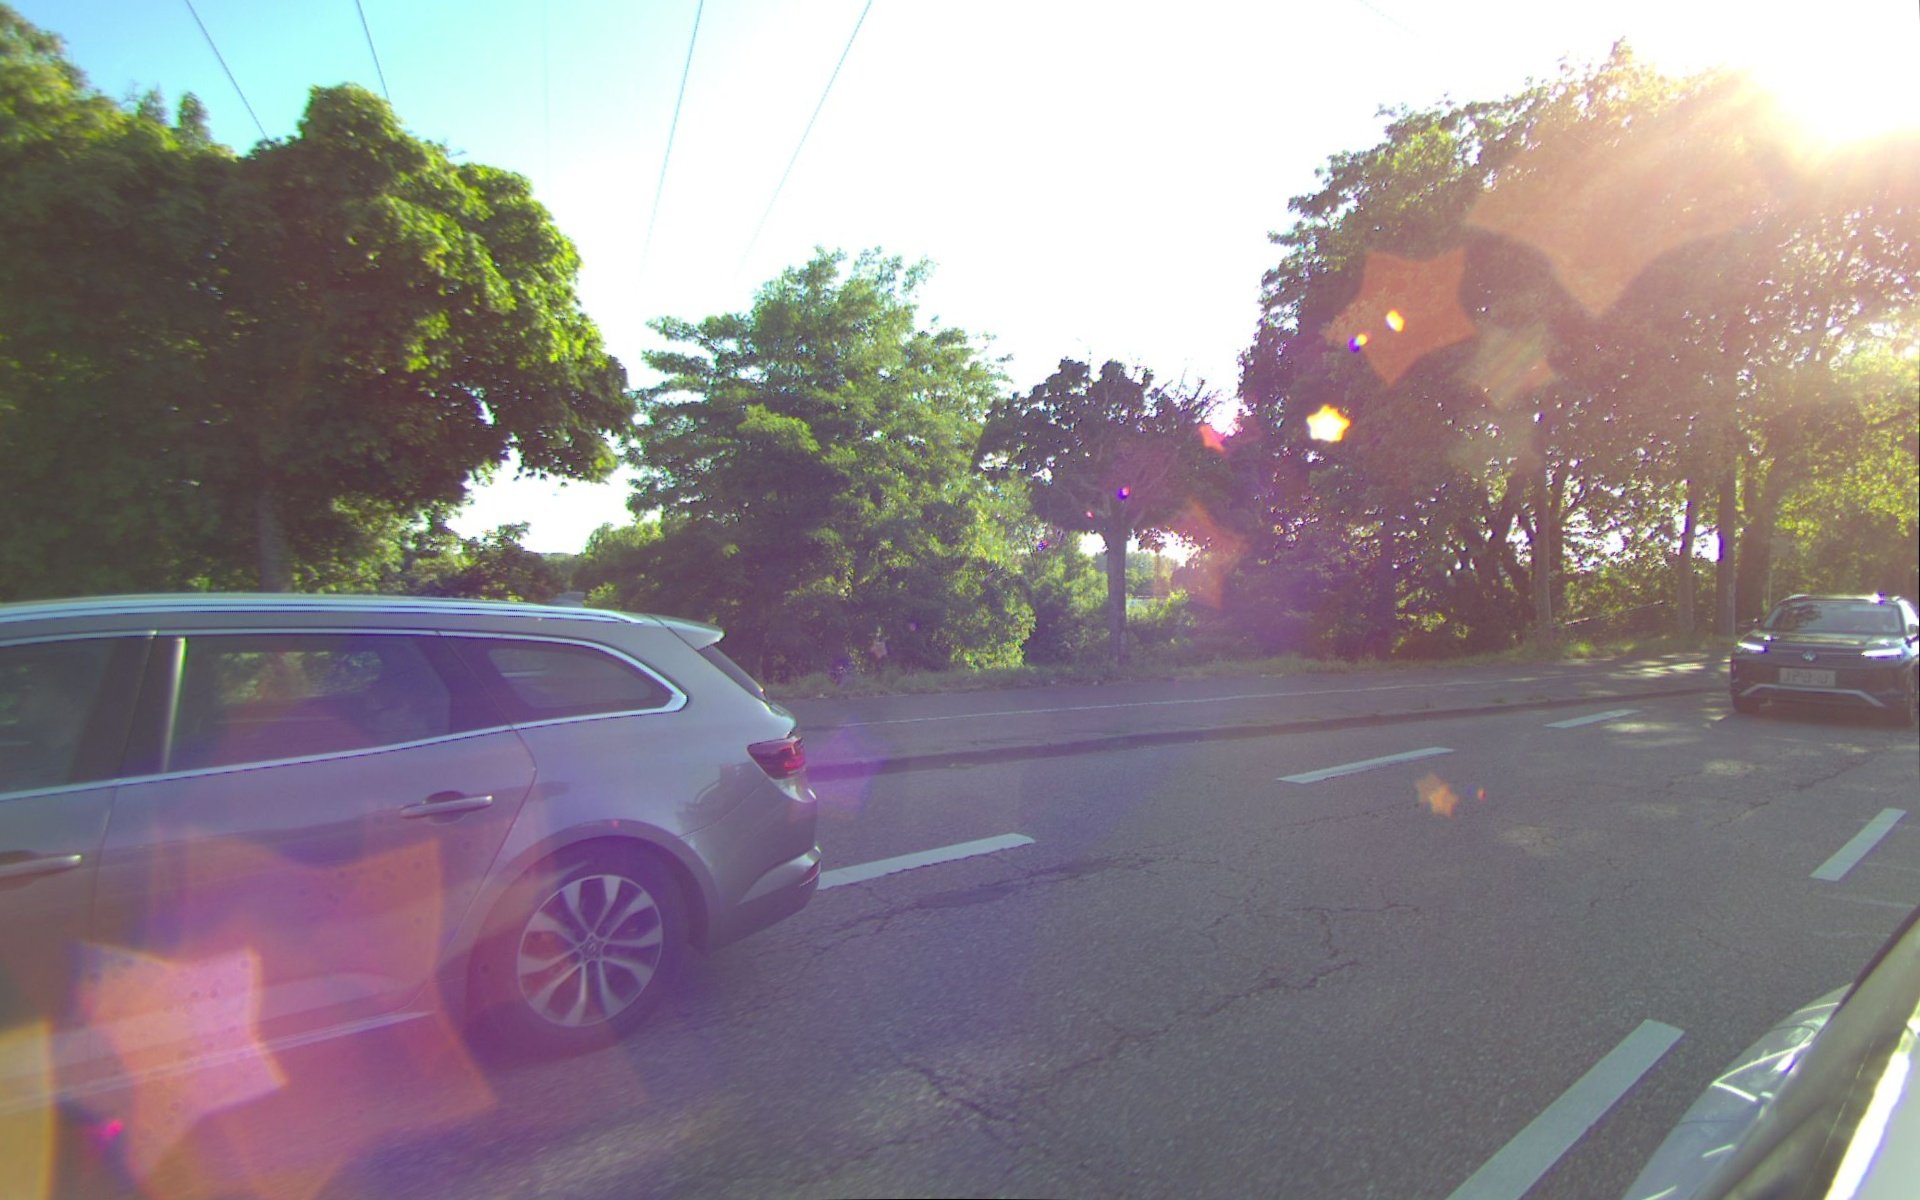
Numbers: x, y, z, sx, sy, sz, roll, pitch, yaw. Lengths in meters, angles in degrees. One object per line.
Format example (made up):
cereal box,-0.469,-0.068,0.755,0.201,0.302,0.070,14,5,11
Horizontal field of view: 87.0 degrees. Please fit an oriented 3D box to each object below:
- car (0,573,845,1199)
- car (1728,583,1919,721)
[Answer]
car,-2.789,0.652,3.071,4.575,1.461,1.881,-1,1,-39
car,12.414,0.579,14.030,4.338,1.620,1.880,-1,1,-40
